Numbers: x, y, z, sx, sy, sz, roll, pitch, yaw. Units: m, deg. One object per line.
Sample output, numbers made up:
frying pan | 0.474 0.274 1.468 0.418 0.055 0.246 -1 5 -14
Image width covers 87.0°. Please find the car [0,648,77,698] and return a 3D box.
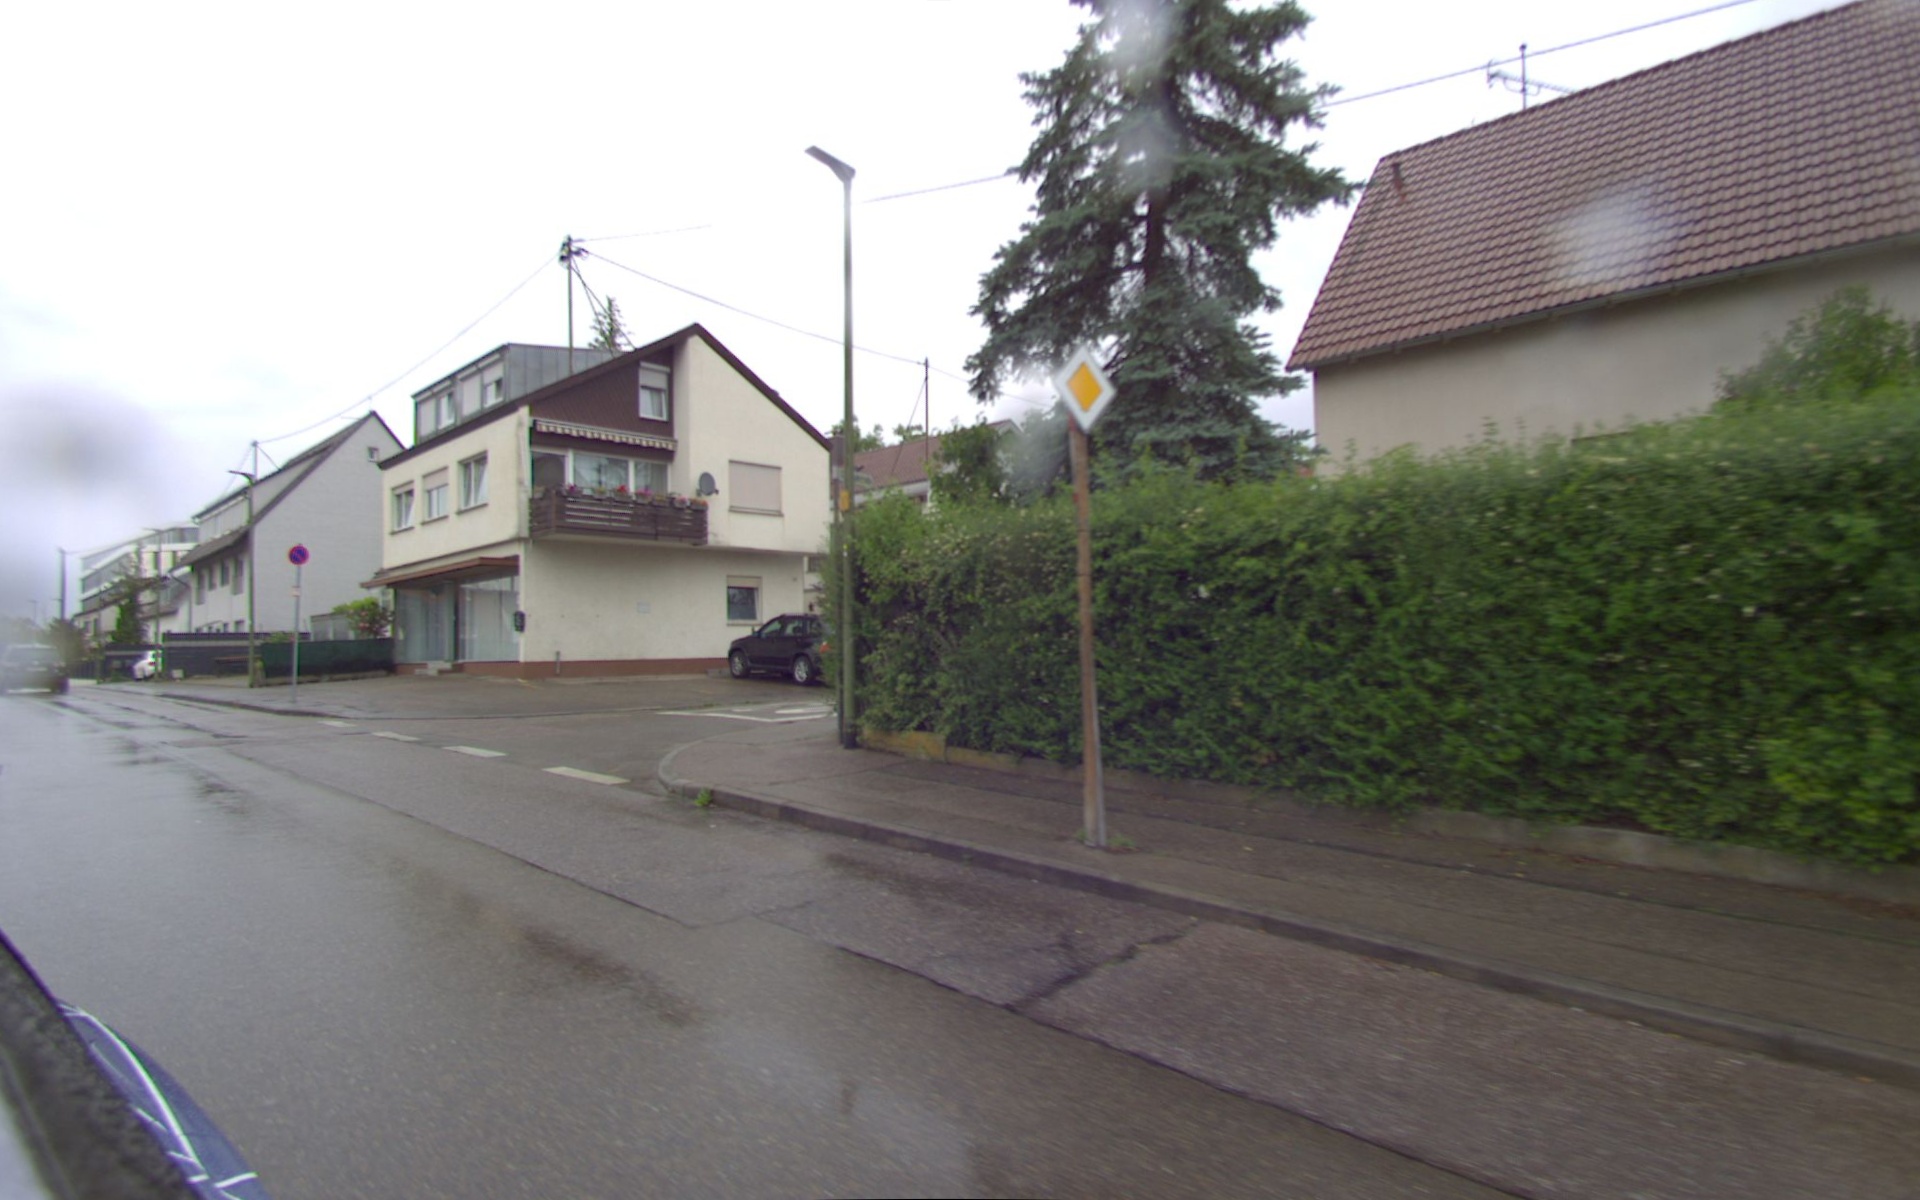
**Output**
car | -30.890 2.378 33.573 3.999 1.544 1.872 -2 -4 42

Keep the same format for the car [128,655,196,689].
car | -38.515 3.445 48.802 3.999 1.544 1.872 -2 -4 42

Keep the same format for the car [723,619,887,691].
car | -4.021 1.379 25.893 4.199 1.669 1.971 -2 -4 43
